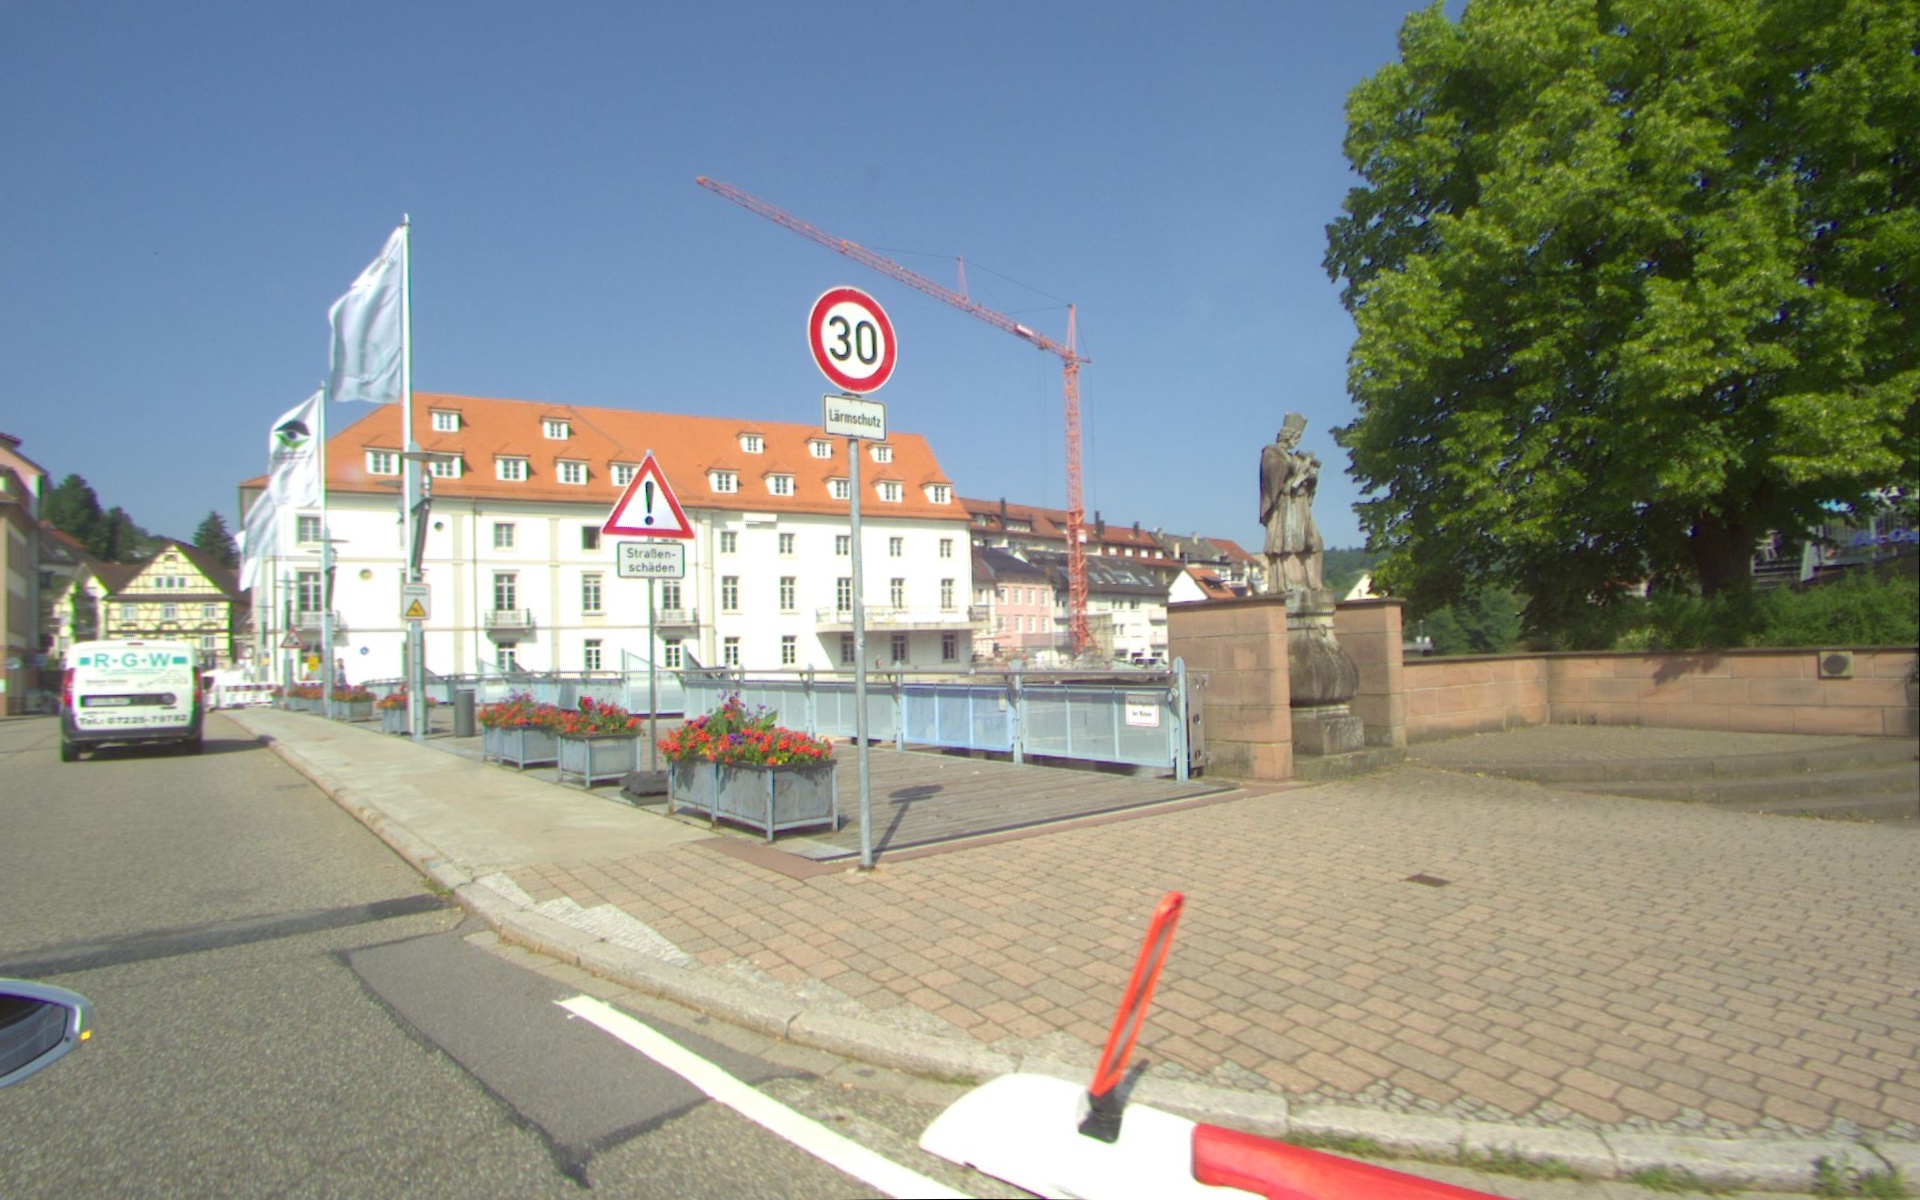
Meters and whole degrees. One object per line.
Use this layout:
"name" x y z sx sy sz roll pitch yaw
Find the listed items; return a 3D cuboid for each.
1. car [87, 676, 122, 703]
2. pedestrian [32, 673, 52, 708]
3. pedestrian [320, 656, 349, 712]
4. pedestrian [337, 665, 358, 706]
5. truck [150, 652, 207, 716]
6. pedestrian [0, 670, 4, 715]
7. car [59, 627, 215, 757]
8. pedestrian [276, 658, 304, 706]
"car" -61.287 6.382 71.777 1.763 1.814 4.661 2 -4 -39
"pedestrian" -51.141 5.032 55.788 0.797 1.880 0.611 0 -3 -39
"pedestrian" -18.674 2.504 29.893 0.661 1.638 0.559 1 -3 -41
"pedestrian" -19.254 2.698 31.481 0.448 1.259 0.621 0 -4 -43
"truck" -34.049 3.646 43.642 1.846 2.616 4.230 1 -5 -38
"pedestrian" -38.933 3.718 40.184 0.608 1.784 0.859 1 -3 -33
"car" -13.972 1.552 17.180 1.829 1.929 4.286 1 -5 -37
"pedestrian" -24.583 2.996 36.740 0.721 1.744 0.740 -3 -4 45
